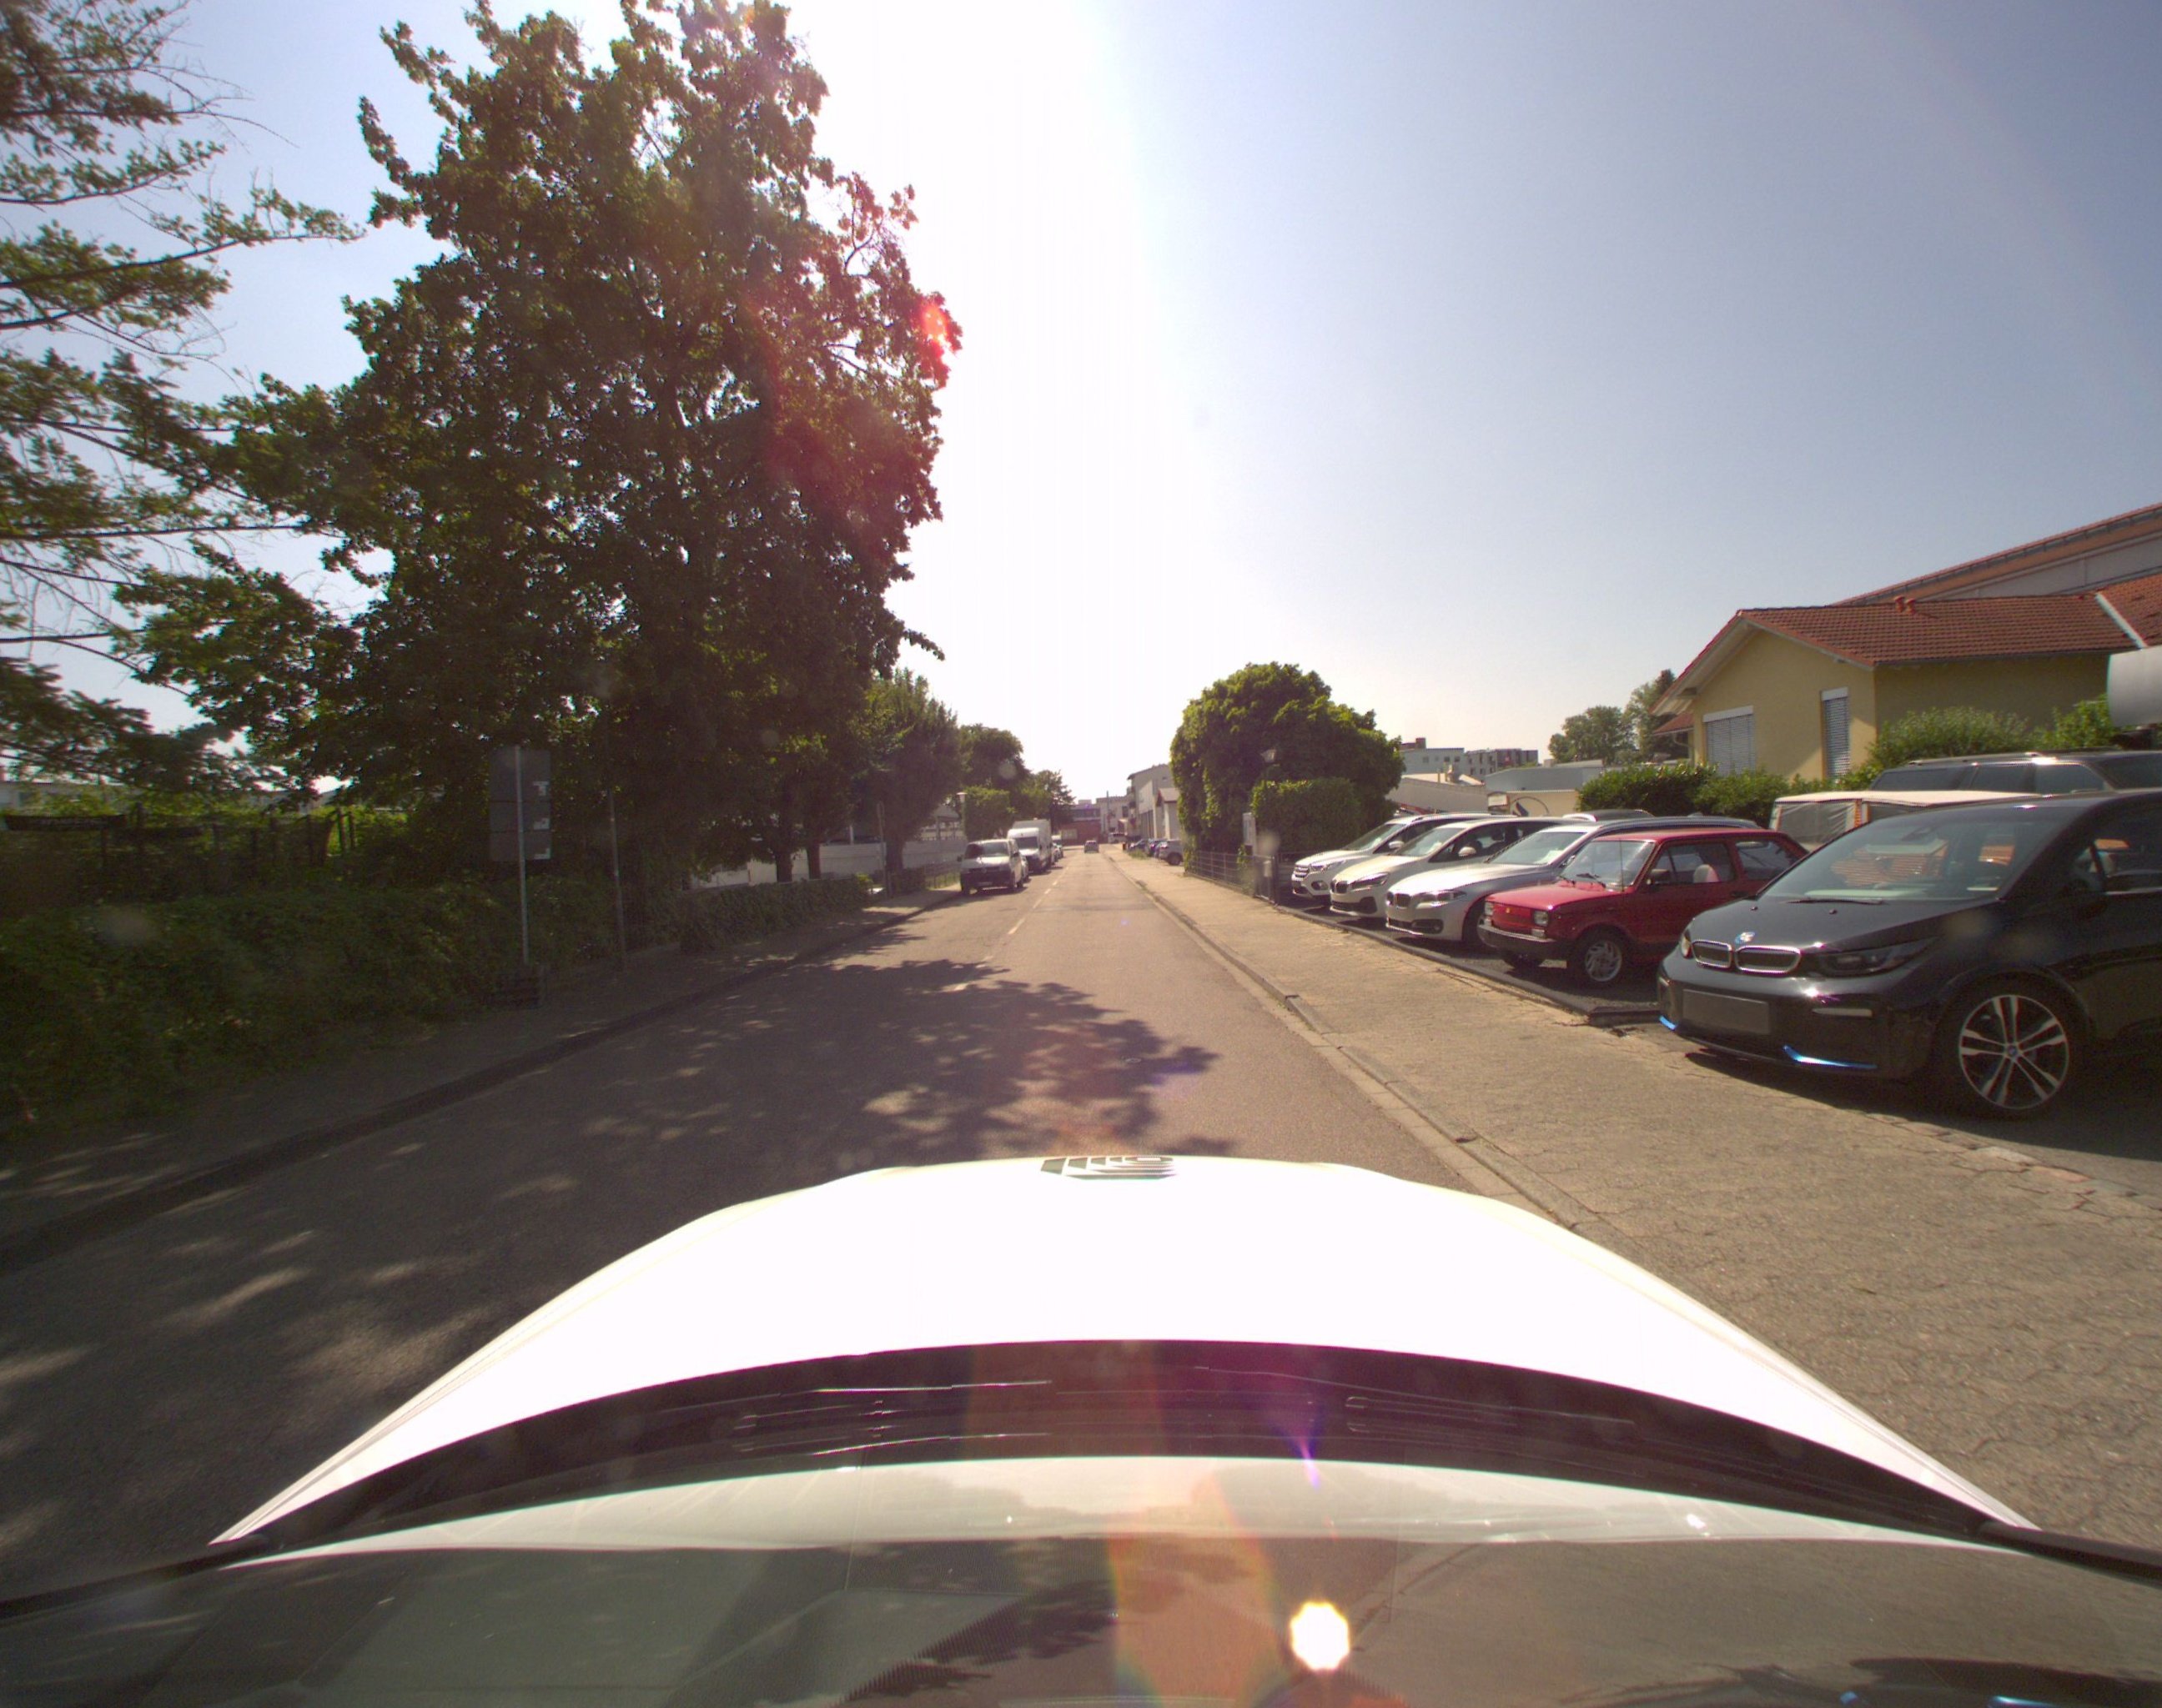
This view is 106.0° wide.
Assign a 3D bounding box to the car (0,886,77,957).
[{"bbox_3d":[-47.445,3.030,34.277,2.421,2.876,5.950,-4,0,10],"label":"car"}]

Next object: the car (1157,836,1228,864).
[{"bbox_3d":[6.898,-0.279,50.589,4.188,1.682,1.766,0,1,-1],"label":"car"}]

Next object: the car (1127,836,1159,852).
[{"bbox_3d":[6.668,-1.081,87.269,3.242,1.398,1.674,-4,1,0],"label":"car"}]

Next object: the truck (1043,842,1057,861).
[{"bbox_3d":[-2.945,-0.272,76.741,1.135,1.622,3.139,-5,1,-2],"label":"truck"}]

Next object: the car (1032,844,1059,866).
[{"bbox_3d":[-2.737,0.073,63.397,1.735,1.521,4.310,-4,1,0],"label":"car"}]

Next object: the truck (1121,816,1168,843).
[{"bbox_3d":[10.720,-4.177,138.436,7.350,3.644,2.762,-6,2,-6],"label":"truck"}]

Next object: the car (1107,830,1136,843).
[{"bbox_3d":[7.274,-3.116,146.858,4.668,1.957,1.904,-4,1,-19],"label":"car"}]

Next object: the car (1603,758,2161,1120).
[{"bbox_3d":[5.583,0.322,4.832,3.792,1.624,1.759,-4,0,-2],"label":"car"}]

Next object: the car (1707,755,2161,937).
[{"bbox_3d":[10.355,-0.113,10.136,1.987,1.727,3.999,-3,0,0],"label":"car"}]

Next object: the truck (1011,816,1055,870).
[{"bbox_3d":[-3.276,-0.722,56.687,2.679,3.366,7.124,-4,0,-2],"label":"truck"}]

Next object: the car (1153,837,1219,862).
[{"bbox_3d":[7.283,-0.349,56.715,4.339,1.441,1.892,-4,1,-1],"label":"car"}]

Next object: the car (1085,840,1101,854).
[{"bbox_3d":[1.476,-0.877,101.651,1.884,1.685,3.958,0,0,0],"label":"car"}]

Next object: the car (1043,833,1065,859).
[{"bbox_3d":[-2.824,-0.870,85.520,2.000,2.365,5.227,-6,1,-1],"label":"car"}]

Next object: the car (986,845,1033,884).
[{"bbox_3d":[-3.260,0.446,37.811,1.709,1.543,4.399,-5,0,-1],"label":"car"}]

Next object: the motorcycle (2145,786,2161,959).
[{"bbox_3d":[10.286,0.065,6.522,2.683,1.433,1.007,-4,0,-11],"label":"motorcycle"}]

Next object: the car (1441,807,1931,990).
[{"bbox_3d":[5.610,0.377,7.846,3.539,1.335,1.558,-4,0,-2],"label":"car"}]

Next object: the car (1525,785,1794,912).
[{"bbox_3d":[9.854,-0.075,14.304,1.987,1.860,3.788,-2,0,0],"label":"car"}]

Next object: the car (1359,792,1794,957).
[{"bbox_3d":[6.097,0.223,10.344,4.396,1.497,1.894,-5,0,-5],"label":"car"}]

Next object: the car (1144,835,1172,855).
[{"bbox_3d":[6.590,-0.779,70.112,1.852,1.567,4.951,-4,1,0],"label":"car"}]

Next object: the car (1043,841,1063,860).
[{"bbox_3d":[-2.829,-0.363,80.350,1.701,1.624,3.968,-5,1,-4],"label":"car"}]

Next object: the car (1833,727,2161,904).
[{"bbox_3d":[13.174,-0.509,10.595,1.990,2.013,4.900,-4,0,-4],"label":"car"}]

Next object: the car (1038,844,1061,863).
[{"bbox_3d":[-2.710,-0.065,70.961,1.699,1.462,4.115,-5,1,1],"label":"car"}]

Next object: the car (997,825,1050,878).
[{"bbox_3d":[-3.177,-0.159,46.622,2.160,2.595,6.923,-5,0,2],"label":"car"}]

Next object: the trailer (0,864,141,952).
[{"bbox_3d":[-52.849,2.801,41.586,6.824,3.994,2.762,-4,0,7],"label":"trailer"}]

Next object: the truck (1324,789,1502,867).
[{"bbox_3d":[17.587,-1.356,43.596,8.241,3.610,2.956,-3,1,3],"label":"truck"}]

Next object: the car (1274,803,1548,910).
[{"bbox_3d":[6.122,0.034,15.445,4.391,1.653,1.842,-3,0,-2],"label":"car"}]

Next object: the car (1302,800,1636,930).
[{"bbox_3d":[6.043,0.152,13.009,4.396,1.527,1.894,-5,0,-5],"label":"car"}]

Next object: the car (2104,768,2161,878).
[{"bbox_3d":[16.776,-0.517,10.511,1.990,1.596,3.993,-4,0,-5],"label":"car"}]

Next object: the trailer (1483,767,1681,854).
[{"bbox_3d":[26.176,-2.216,42.938,8.293,3.862,3.073,-3,0,5],"label":"trailer"}]

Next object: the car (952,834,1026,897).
[{"bbox_3d":[-3.336,0.384,30.636,1.965,2.013,5.057,-5,0,1],"label":"car"}]

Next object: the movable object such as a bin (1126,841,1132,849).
[{"bbox_3d":[5.638,-1.059,95.280,0.510,0.946,0.489,-4,1,12],"label":"movable object such as a bin"}]
